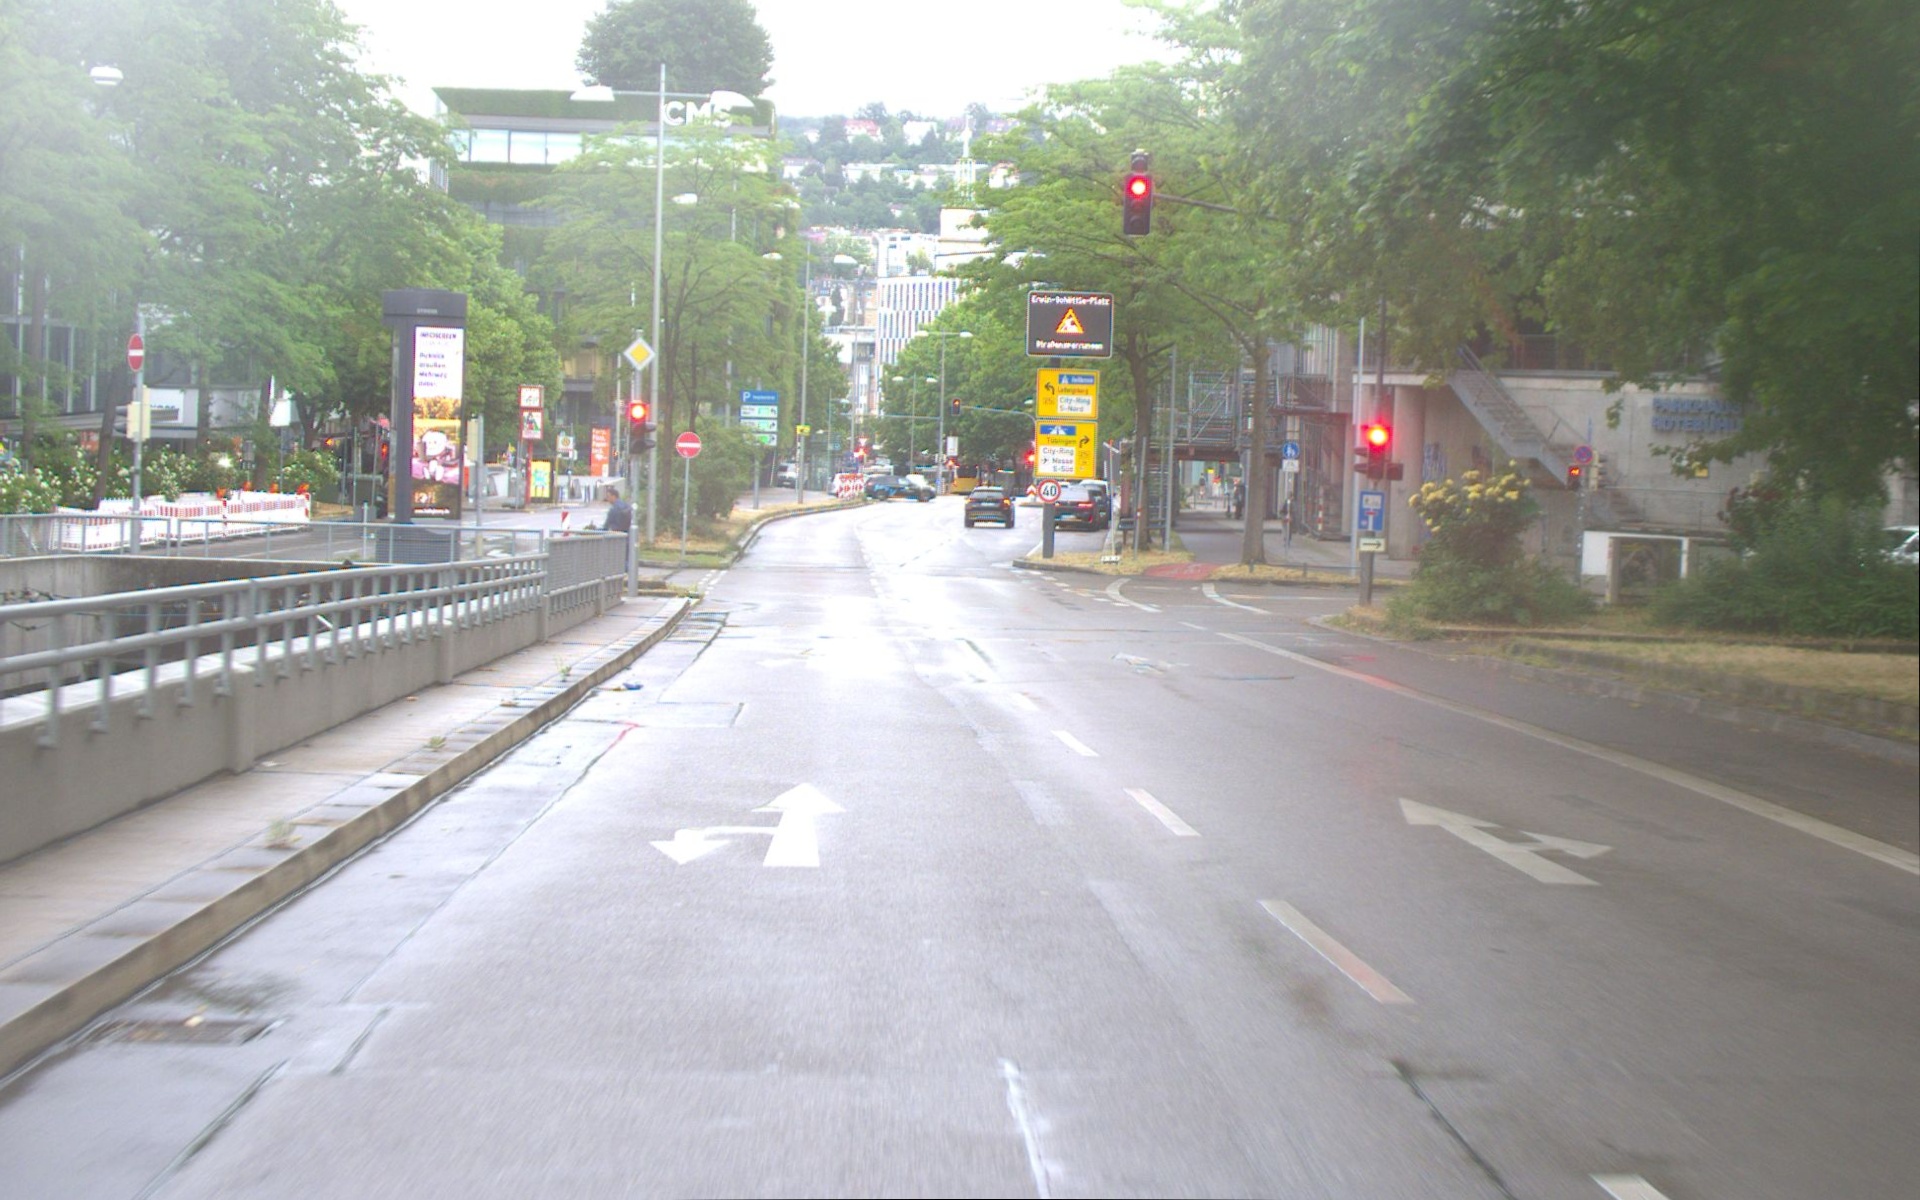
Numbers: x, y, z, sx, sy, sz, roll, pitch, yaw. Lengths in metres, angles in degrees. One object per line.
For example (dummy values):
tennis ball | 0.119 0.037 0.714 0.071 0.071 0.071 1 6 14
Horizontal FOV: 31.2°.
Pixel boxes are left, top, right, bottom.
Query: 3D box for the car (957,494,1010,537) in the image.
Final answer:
car | 0.870 -3.176 128.750 1.746 1.514 4.107 2 2 -2

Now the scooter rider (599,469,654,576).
scooter rider | -6.175 -1.435 63.635 0.808 1.941 0.823 2 1 -16

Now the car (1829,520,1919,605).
car | 20.616 -0.739 72.379 4.342 1.678 1.752 2 2 -27

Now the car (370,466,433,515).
car | -20.285 -3.999 125.034 1.780 1.550 3.894 3 4 -3

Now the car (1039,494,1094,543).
car | 3.900 -2.988 125.964 1.901 1.678 3.911 3 2 2

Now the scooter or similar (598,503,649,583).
scooter or similar | -6.233 -1.059 63.552 0.546 1.413 1.956 2 2 -16
